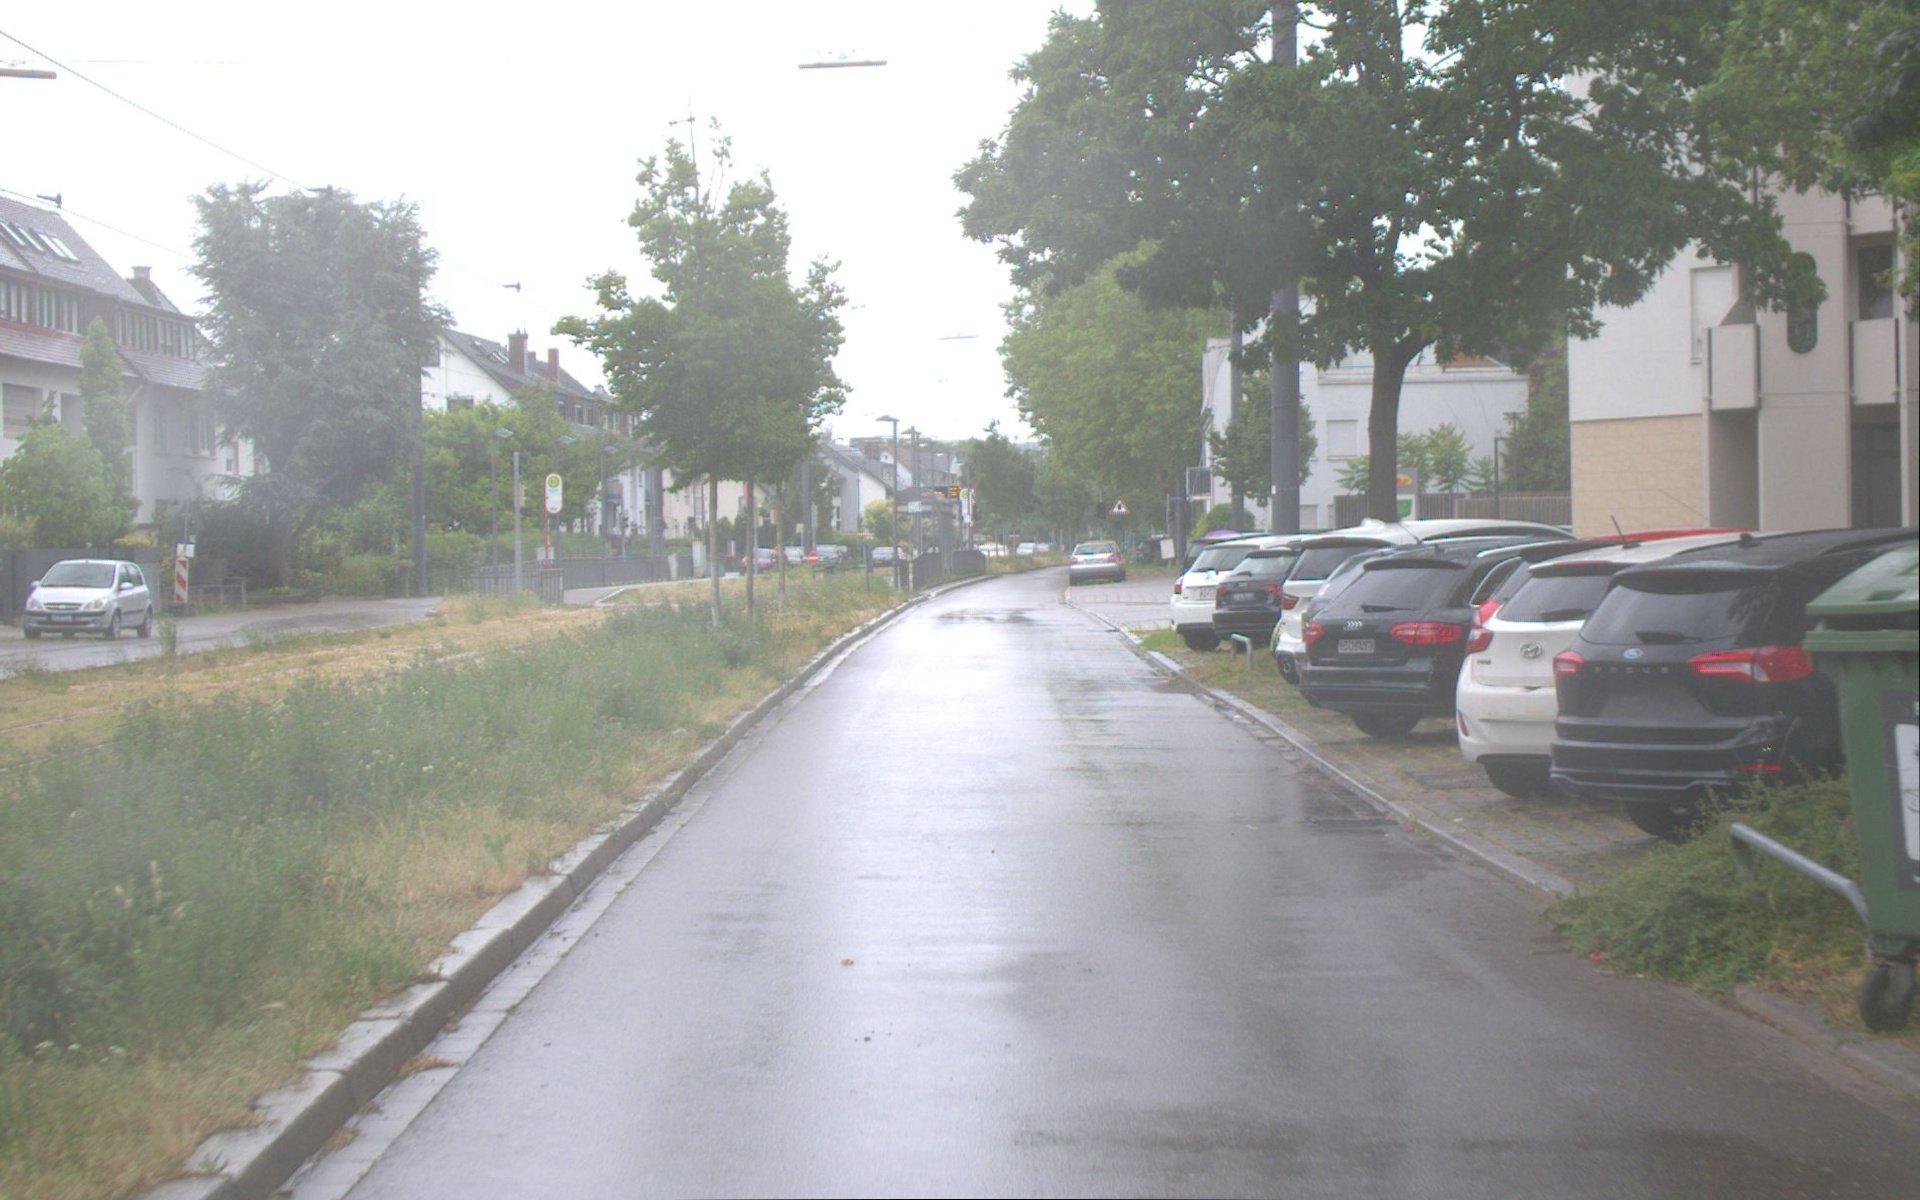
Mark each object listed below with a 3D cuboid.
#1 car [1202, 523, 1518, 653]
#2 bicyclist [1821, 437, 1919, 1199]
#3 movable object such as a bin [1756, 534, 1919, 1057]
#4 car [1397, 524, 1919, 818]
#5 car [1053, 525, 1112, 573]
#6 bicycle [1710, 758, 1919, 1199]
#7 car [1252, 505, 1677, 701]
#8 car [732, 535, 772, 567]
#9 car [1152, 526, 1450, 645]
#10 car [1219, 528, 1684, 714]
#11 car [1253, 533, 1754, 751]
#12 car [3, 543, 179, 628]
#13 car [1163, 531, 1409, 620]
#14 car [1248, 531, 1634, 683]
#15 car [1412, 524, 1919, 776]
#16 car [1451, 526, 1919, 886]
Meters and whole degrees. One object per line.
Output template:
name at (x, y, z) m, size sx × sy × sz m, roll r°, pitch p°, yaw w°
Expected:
car at (5.174, -0.182, 44.239) m, size 4.029 × 1.535 × 1.585 m, roll -2°, pitch 1°, yaw -37°
bicyclist at (1.953, 0.442, 5.502) m, size 0.809 × 1.428 × 1.060 m, roll -2°, pitch 1°, yaw -3°
movable object such as a bin at (3.258, 0.529, 9.965) m, size 1.125 × 1.452 × 1.401 m, roll -7°, pitch 3°, yaw -21°
car at (4.614, 0.341, 20.129) m, size 4.028 × 1.514 × 1.585 m, roll -2°, pitch 1°, yaw -35°
car at (4.164, -1.754, 117.249) m, size 1.833 × 1.580 × 4.000 m, roll -1°, pitch 1°, yaw 0°
bicycle at (1.969, 0.882, 5.545) m, size 0.809 × 1.093 × 2.517 m, roll -2°, pitch 1°, yaw -3°
car at (4.826, -0.013, 32.624) m, size 4.029 × 1.697 × 1.585 m, roll -2°, pitch 1°, yaw -37°
car at (-11.055, -2.615, 183.028) m, size 1.843 × 1.666 × 4.000 m, roll -1°, pitch 1°, yaw 0°
car at (4.697, -0.220, 47.127) m, size 4.029 × 1.508 × 1.585 m, roll -2°, pitch 1°, yaw -37°
car at (4.302, 0.141, 29.825) m, size 4.029 × 1.438 × 1.585 m, roll -2°, pitch 1°, yaw -37°
car at (4.134, 0.261, 25.761) m, size 4.030 × 1.438 × 1.584 m, roll -2°, pitch 2°, yaw -44°
car at (-16.122, -0.293, 64.014) m, size 1.897 × 1.464 × 4.687 m, roll 1°, pitch 1°, yaw 2°
car at (5.437, -0.424, 57.171) m, size 4.029 × 1.365 × 1.585 m, roll -2°, pitch 1°, yaw -37°
car at (5.062, 0.043, 35.947) m, size 4.029 × 1.440 × 1.585 m, roll -2°, pitch 1°, yaw -37°
car at (5.115, 0.278, 23.270) m, size 4.028 × 1.514 × 1.585 m, roll -2°, pitch 1°, yaw -35°
car at (4.614, 0.408, 16.776) m, size 4.214 × 1.514 × 1.877 m, roll -2°, pitch 1°, yaw -35°
